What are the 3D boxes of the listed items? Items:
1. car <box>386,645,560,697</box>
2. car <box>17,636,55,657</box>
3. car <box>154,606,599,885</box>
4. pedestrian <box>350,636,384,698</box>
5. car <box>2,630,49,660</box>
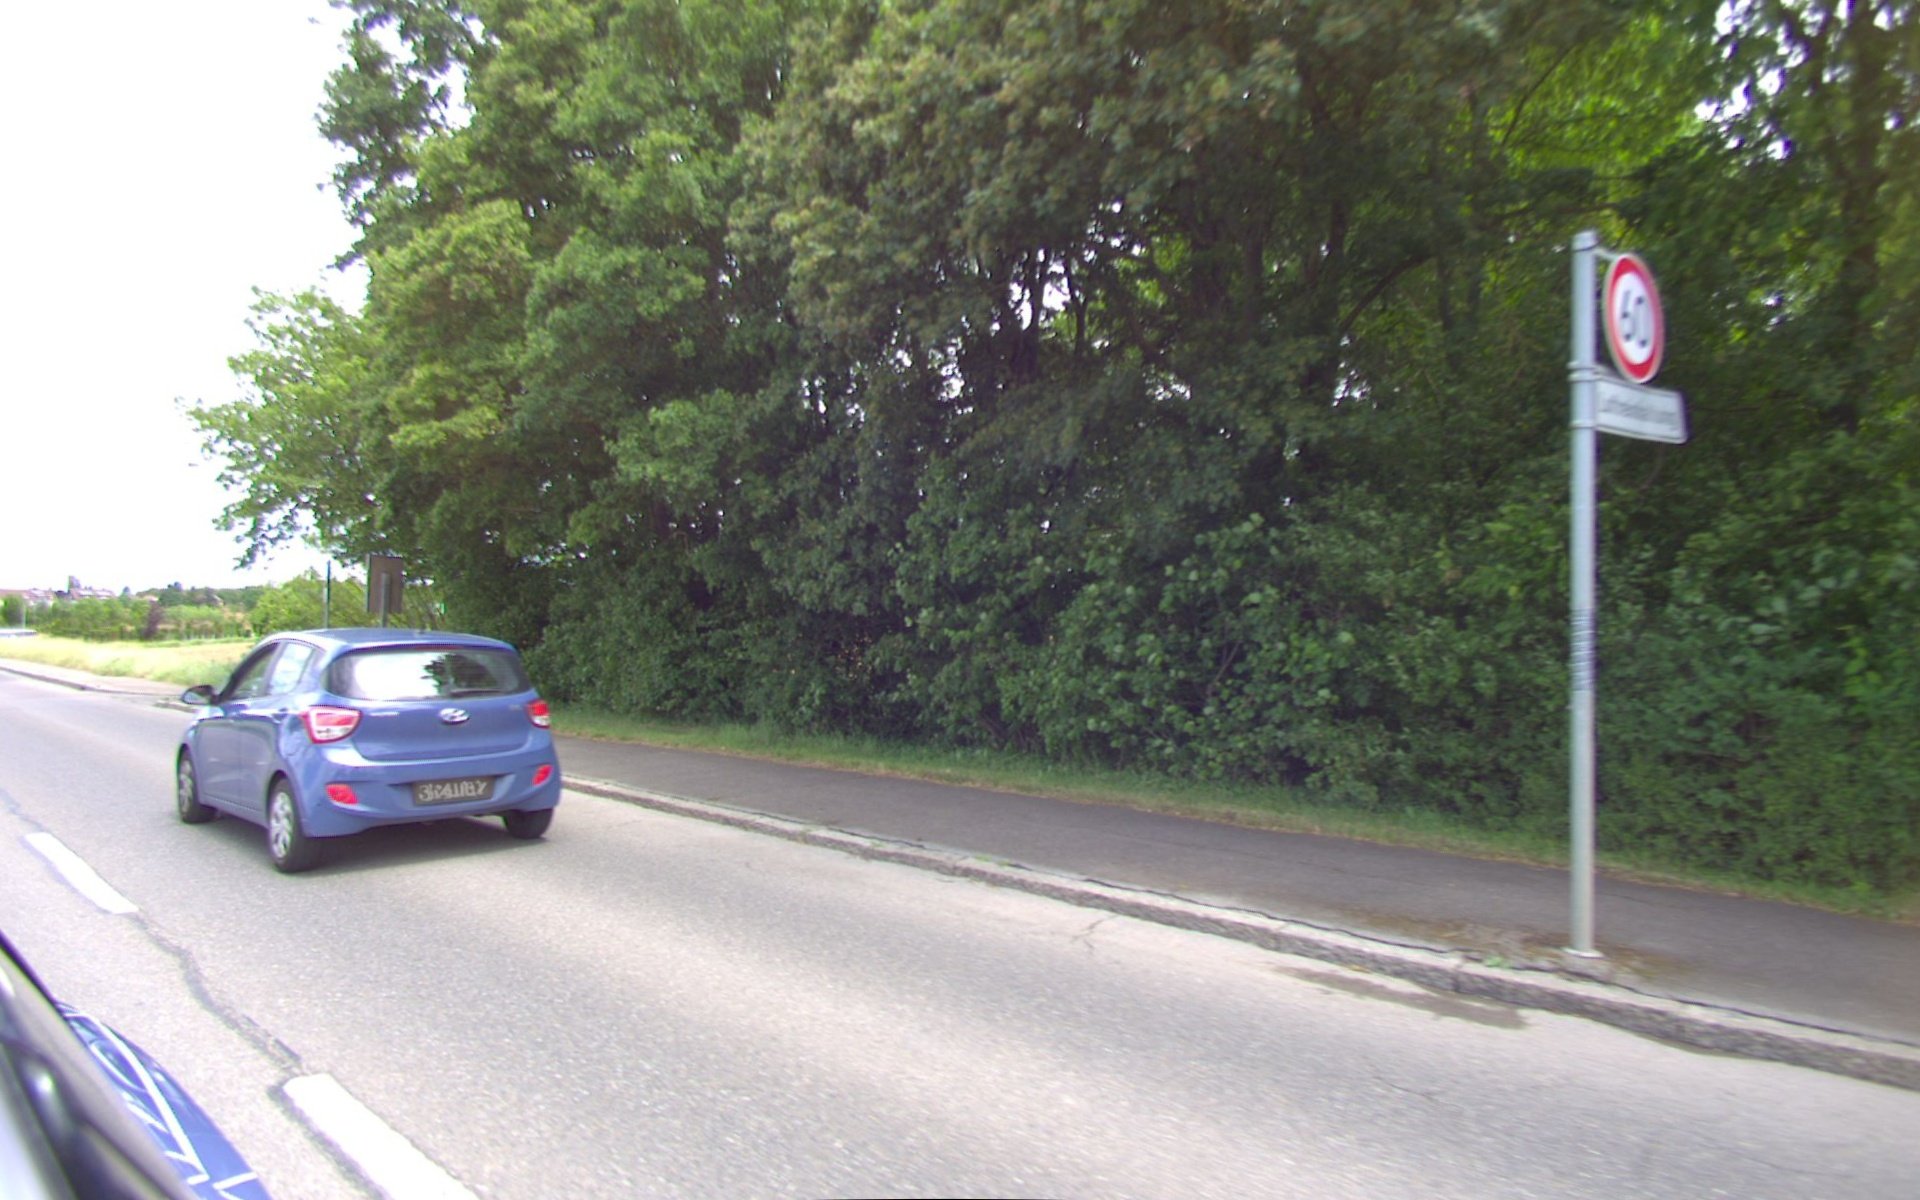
[{"bbox_3d":[-13.348,1.956,27.860,3.938,1.321,1.746,4,-4,-42],"label":"car"},{"bbox_3d":[-60.719,3.012,66.476,3.598,1.260,1.433,-1,0,41],"label":"car"},{"bbox_3d":[-4.472,0.878,7.531,3.823,1.540,1.689,-1,-4,41],"label":"car"},{"bbox_3d":[-15.820,1.779,26.989,0.695,1.606,0.708,1,-4,-38],"label":"pedestrian"},{"bbox_3d":[-50.122,2.398,54.282,3.867,1.459,1.453,-1,0,41],"label":"car"}]
